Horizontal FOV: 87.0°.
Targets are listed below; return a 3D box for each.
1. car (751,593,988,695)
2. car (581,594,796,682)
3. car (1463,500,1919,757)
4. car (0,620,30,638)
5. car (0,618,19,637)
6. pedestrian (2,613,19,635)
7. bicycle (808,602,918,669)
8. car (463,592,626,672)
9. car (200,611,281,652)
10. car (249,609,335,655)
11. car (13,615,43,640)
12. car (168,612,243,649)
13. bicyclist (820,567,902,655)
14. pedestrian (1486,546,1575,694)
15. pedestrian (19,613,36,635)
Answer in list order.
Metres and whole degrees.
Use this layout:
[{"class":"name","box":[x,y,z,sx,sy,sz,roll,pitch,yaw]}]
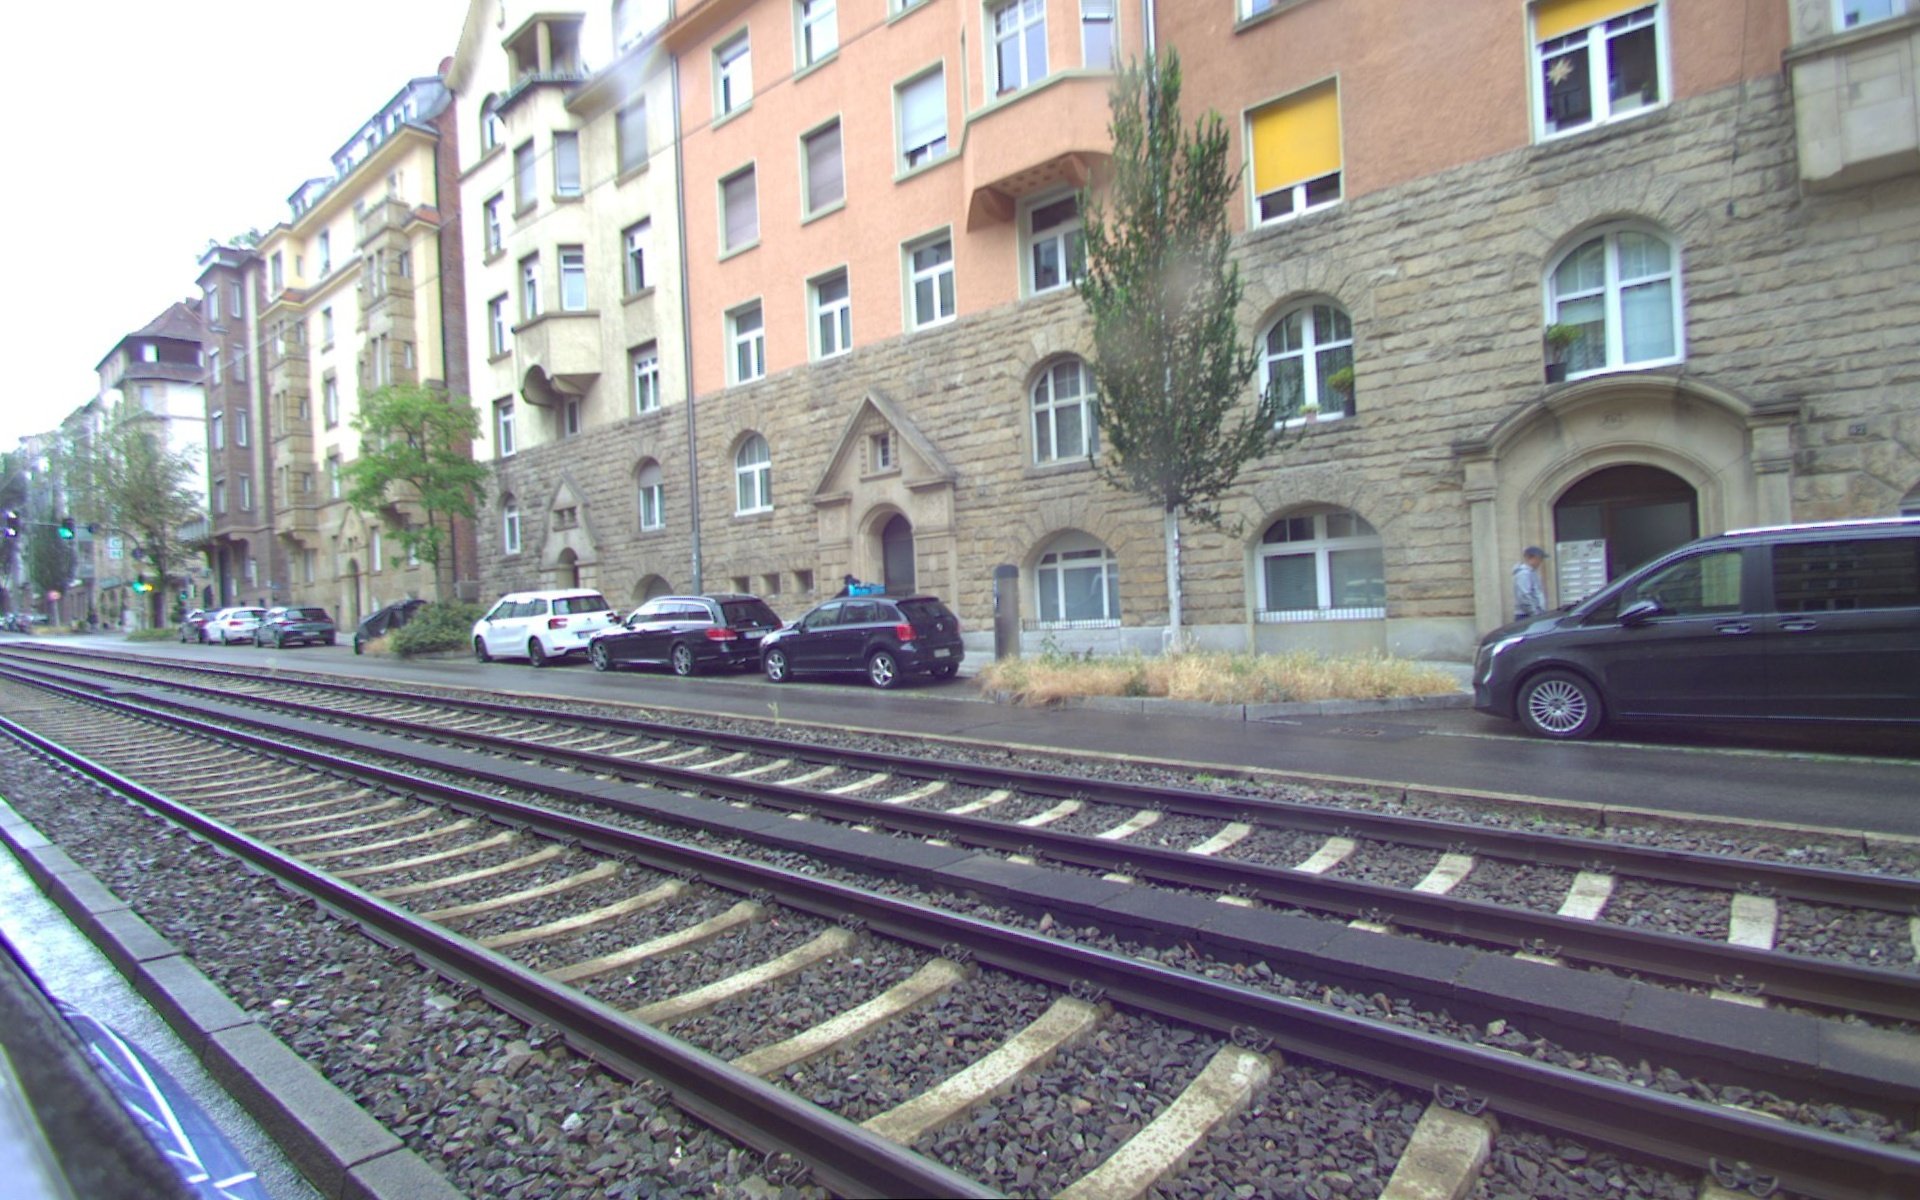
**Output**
[{"class":"car","box":[-1.555,0.672,16.913,3.638,1.508,1.912,-1,0,38]},{"class":"car","box":[-5.436,0.701,19.934,4.599,1.506,1.824,-1,0,41]},{"class":"car","box":[7.348,0.217,8.978,4.823,1.956,1.973,-1,0,41]},{"class":"car","box":[-74.288,2.296,79.335,3.843,1.321,1.563,-1,0,41]},{"class":"car","box":[-80.915,2.305,85.409,3.843,1.527,1.748,-1,0,41]},{"class":"pedestrian","box":[-88.069,2.250,93.894,1.163,1.972,1.042,-1,0,43]},{"class":"bicycle","box":[-1.868,0.658,19.305,2.033,1.195,0.817,-1,0,35]},{"class":"car","box":[-9.744,0.706,23.607,4.144,1.668,1.843,-1,0,41]},{"class":"car","box":[-28.284,1.219,39.759,4.030,1.452,1.748,-1,1,42]},{"class":"car","box":[-23.682,1.103,35.856,3.845,1.452,1.656,-1,1,43]},{"class":"car","box":[-69.039,2.007,74.971,1.561,1.691,3.794,-2,2,-43]},{"class":"car","box":[-32.142,1.274,43.082,3.843,1.452,1.748,-1,0,41]},{"class":"bicyclist","box":[-1.890,0.209,19.312,1.251,1.609,0.876,-2,0,37]},{"class":"pedestrian","box":[6.804,0.218,12.062,0.765,1.653,0.692,-1,5,41]},{"class":"pedestrian","box":[-87.338,2.244,94.758,1.163,1.972,1.042,-1,0,43]}]
